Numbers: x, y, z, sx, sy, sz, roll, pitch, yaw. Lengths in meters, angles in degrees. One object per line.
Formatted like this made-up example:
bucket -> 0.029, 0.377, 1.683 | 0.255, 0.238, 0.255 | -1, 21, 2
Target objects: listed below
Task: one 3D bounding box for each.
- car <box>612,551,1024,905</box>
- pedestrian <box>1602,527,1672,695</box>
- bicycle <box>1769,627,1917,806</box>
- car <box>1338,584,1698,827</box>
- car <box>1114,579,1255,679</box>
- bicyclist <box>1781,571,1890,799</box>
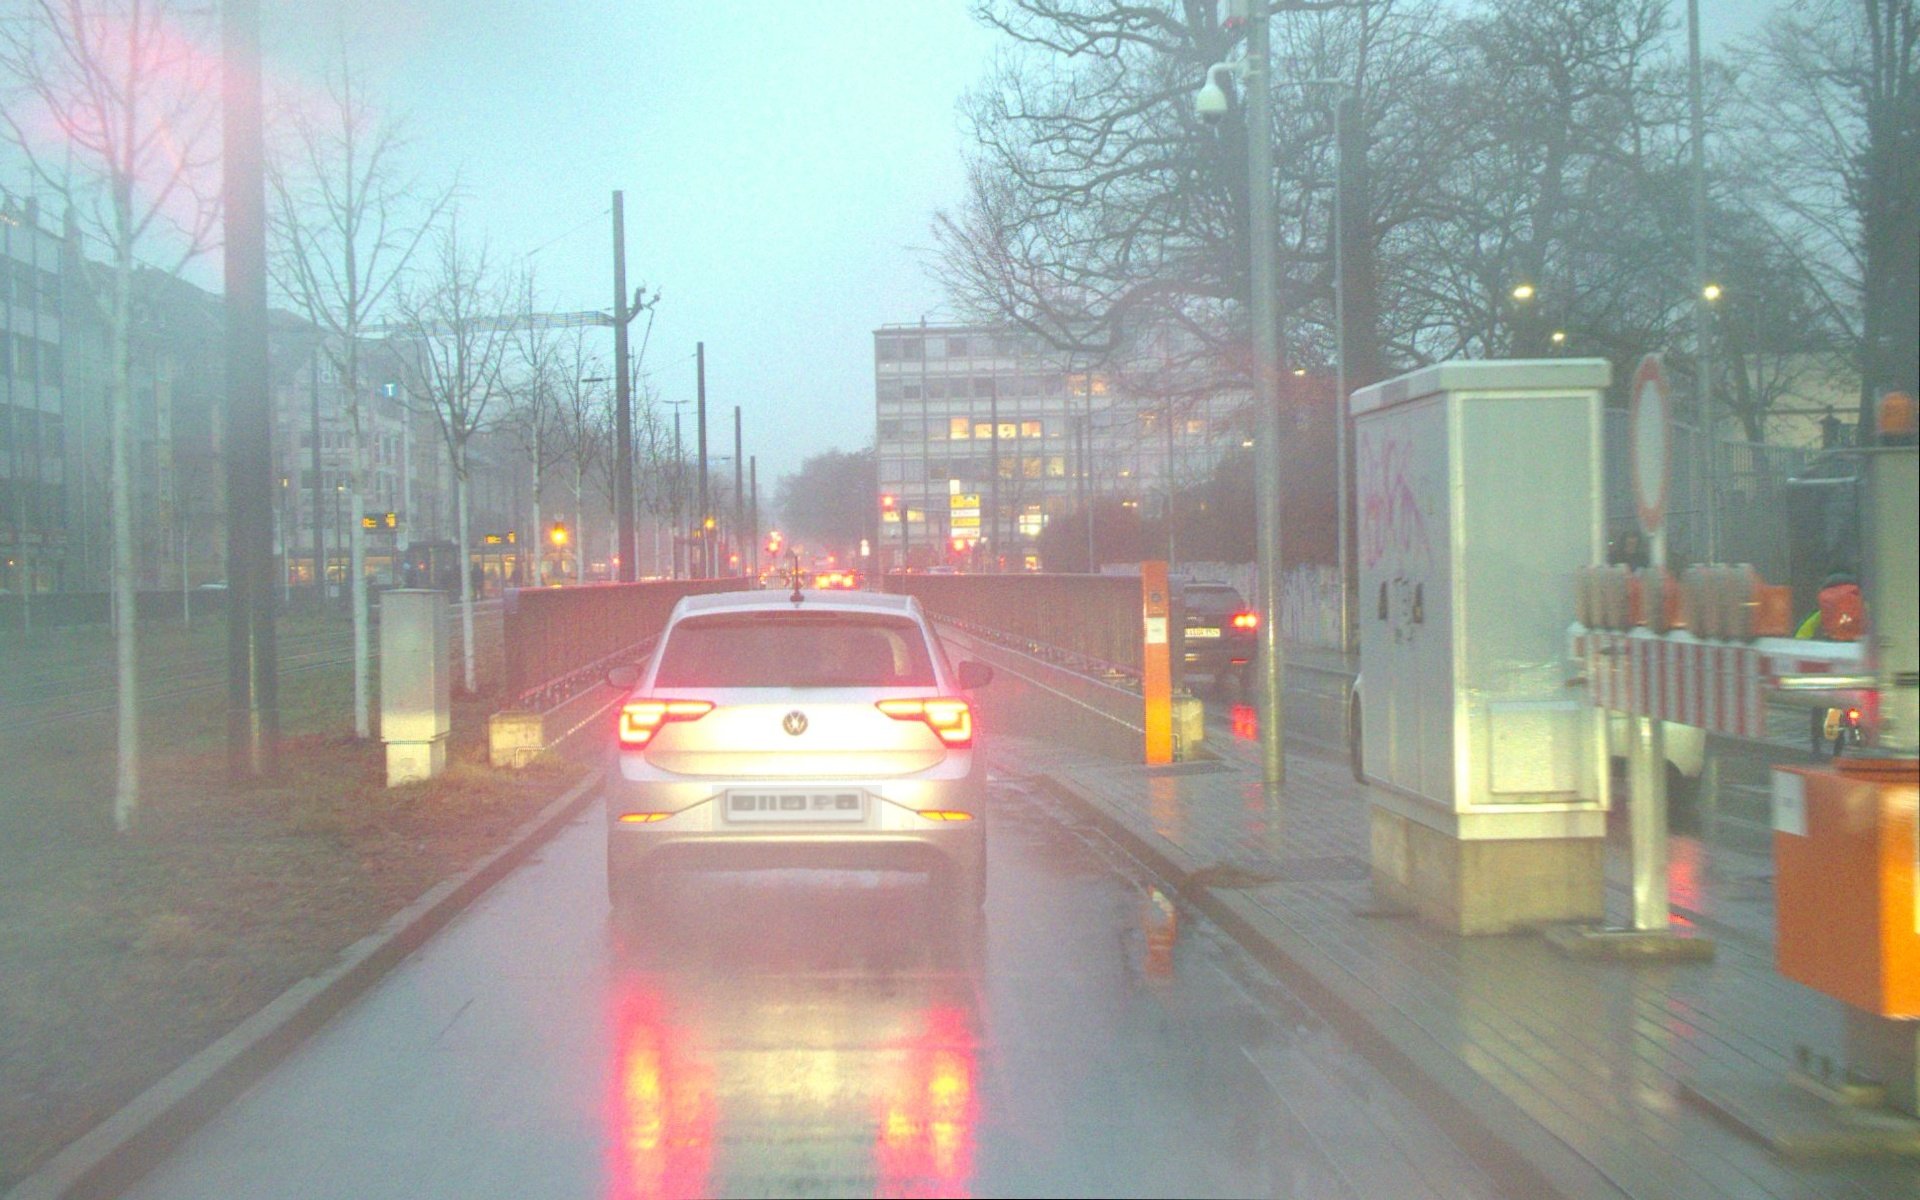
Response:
car -> -0.621, 0.546, 16.568 | 1.722, 1.474, 4.000 | 1, 0, -1
pedestrian -> 7.656, 0.117, 38.919 | 0.531, 1.873, 0.901 | -1, 1, -4
bicycle -> 6.266, 0.804, 24.483 | 0.411, 1.181, 1.948 | -1, 1, -4
car -> 3.672, 0.660, 23.265 | 1.722, 1.474, 4.000 | 1, 0, -1
car -> 3.057, 0.392, 47.386 | 1.623, 1.295, 4.000 | 1, 0, -1
bicyclist -> 6.247, 0.596, 24.558 | 0.500, 1.586, 0.837 | -1, 1, -4
